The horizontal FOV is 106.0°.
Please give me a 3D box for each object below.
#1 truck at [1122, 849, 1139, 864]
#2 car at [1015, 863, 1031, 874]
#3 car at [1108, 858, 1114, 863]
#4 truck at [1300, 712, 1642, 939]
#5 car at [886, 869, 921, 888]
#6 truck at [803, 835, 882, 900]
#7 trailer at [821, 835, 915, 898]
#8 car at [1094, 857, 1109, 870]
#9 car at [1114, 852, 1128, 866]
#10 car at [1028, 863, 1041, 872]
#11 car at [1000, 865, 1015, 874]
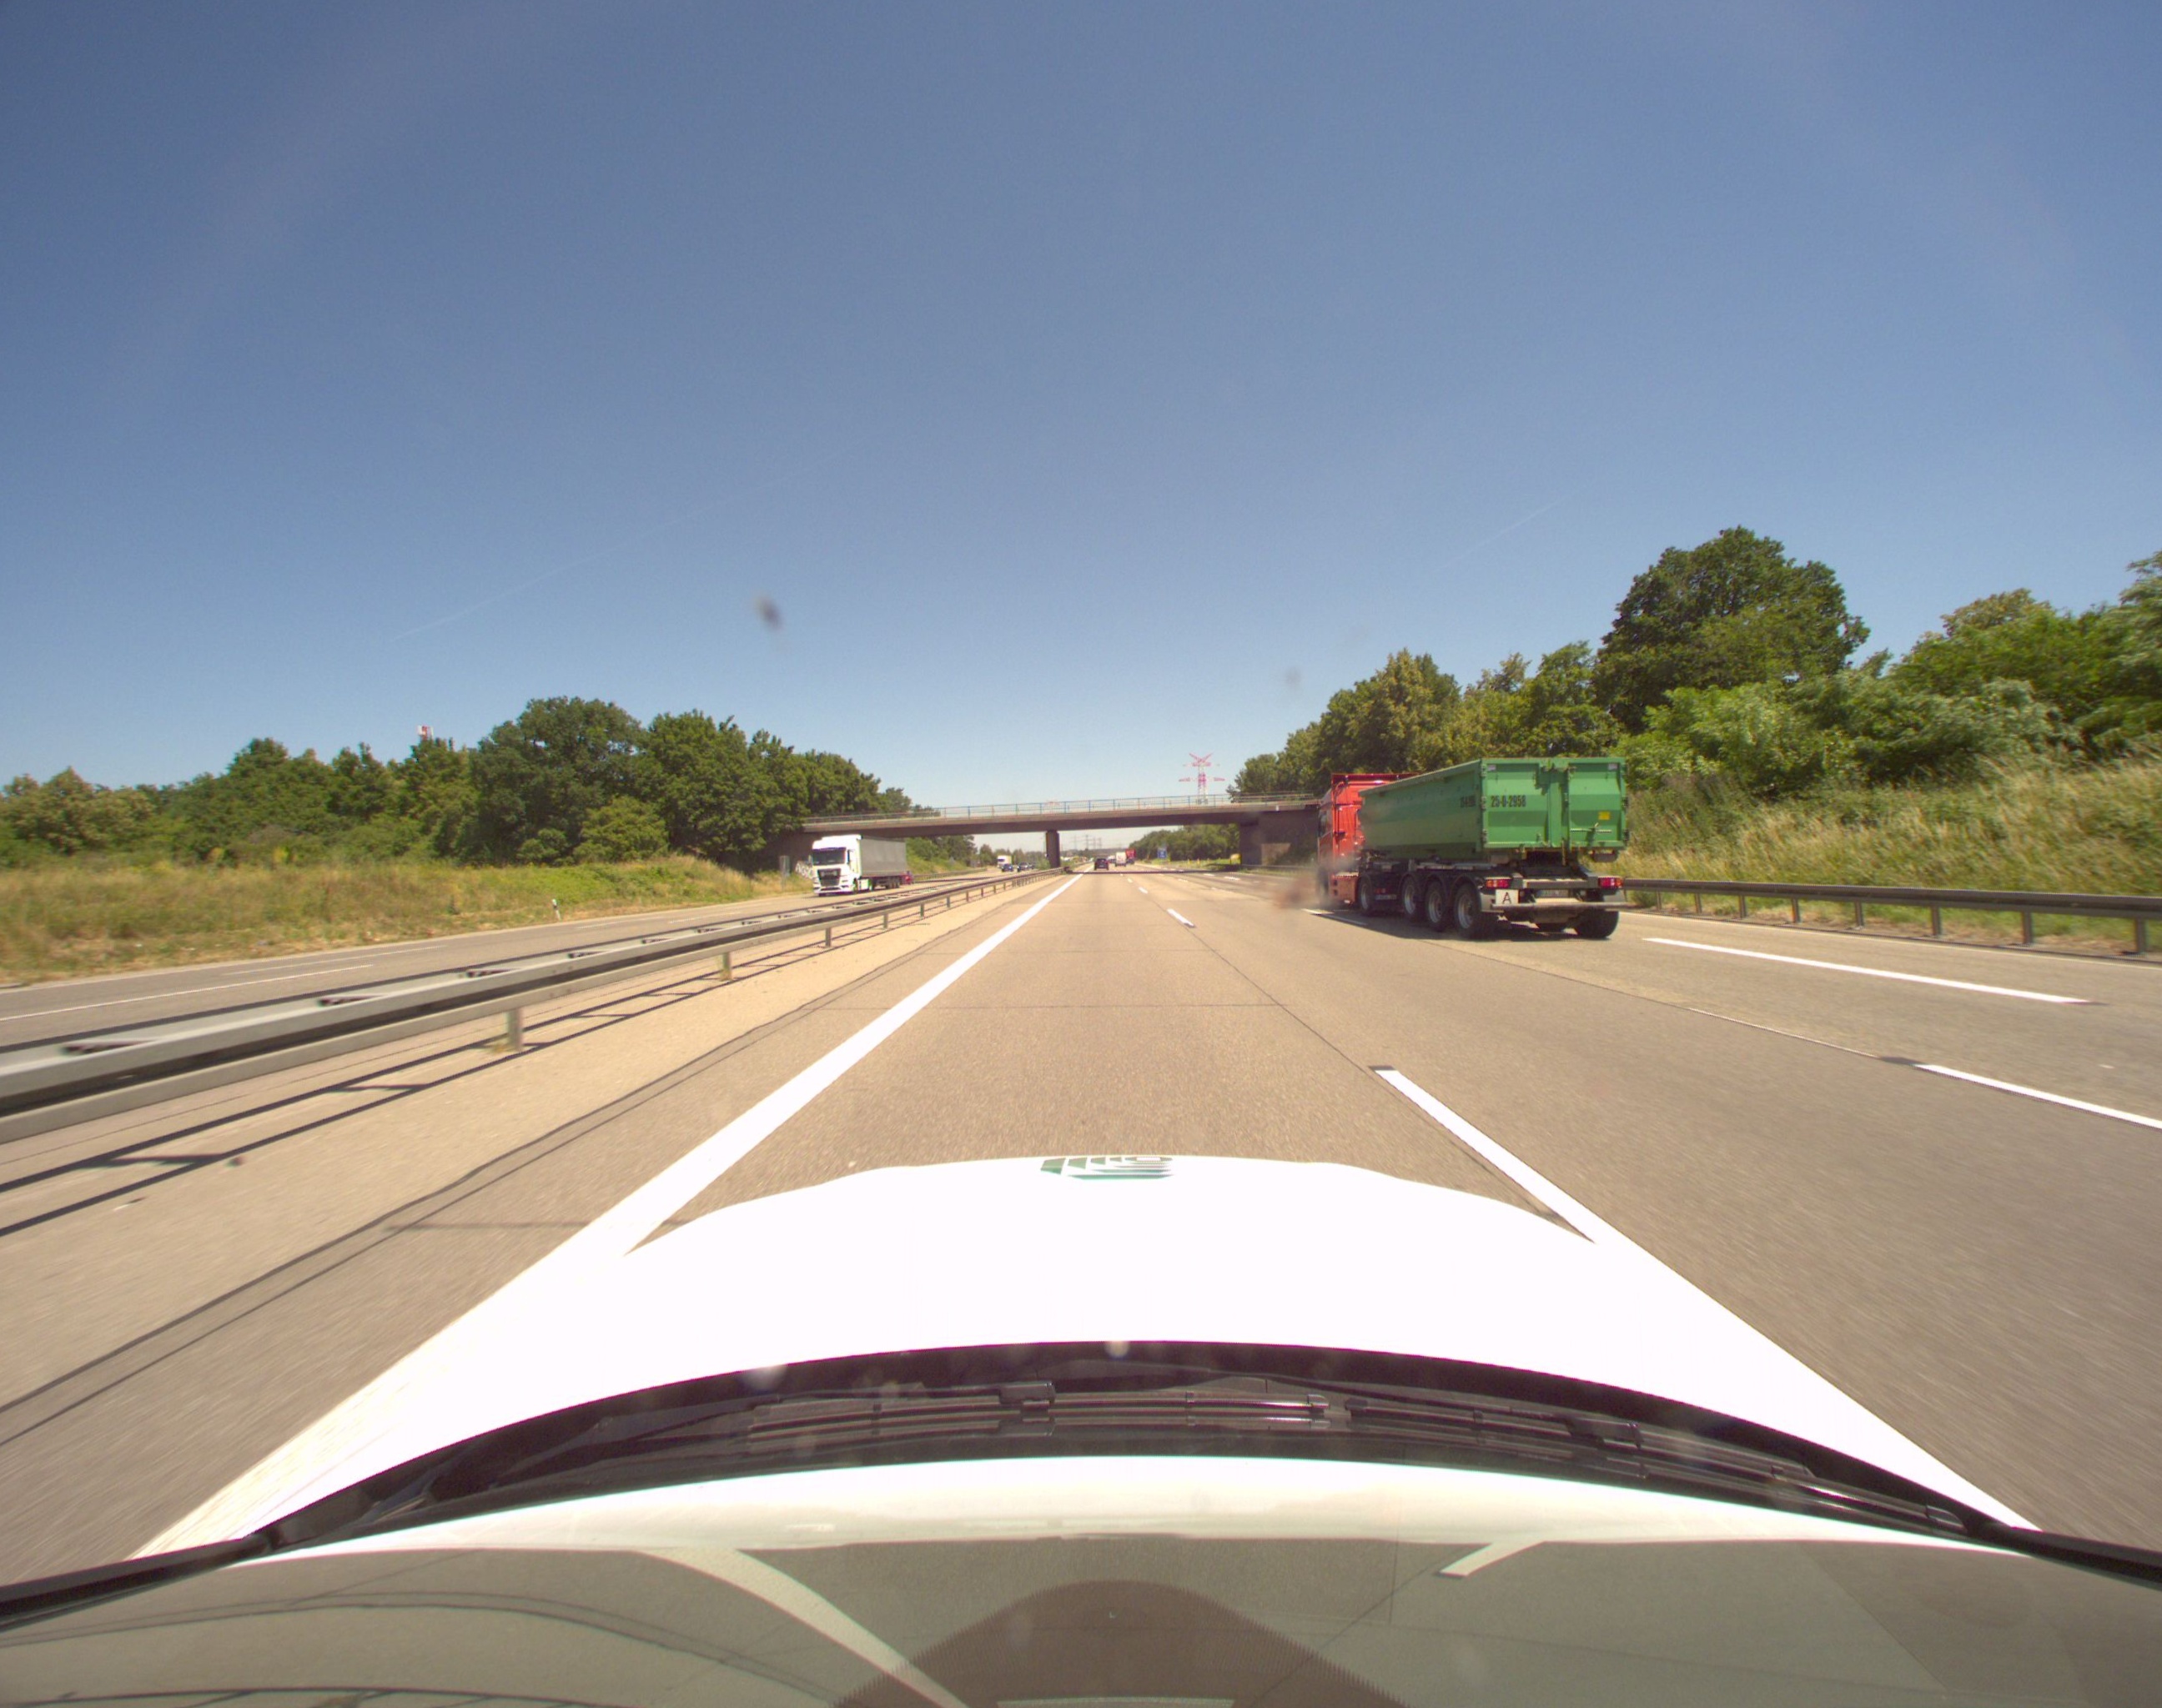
[{"bbox_3d":[13.370,0.626,222.615,4.315,3.941,16.084,-1,0,2],"label":"truck"},{"bbox_3d":[-9.832,2.452,138.843,2.220,1.610,5.061,-4,0,1],"label":"car"},{"bbox_3d":[9.059,1.936,245.800,1.741,1.634,4.005,-1,0,1],"label":"car"},{"bbox_3d":[8.237,-0.461,19.935,2.671,3.798,12.482,-1,0,2],"label":"truck"},{"bbox_3d":[-17.442,2.388,80.137,2.220,1.610,4.788,-4,0,1],"label":"car"},{"bbox_3d":[-16.217,0.852,55.922,2.938,3.960,6.954,-4,0,1],"label":"truck"},{"bbox_3d":[-16.066,0.845,62.962,2.938,4.108,14.106,-4,0,1],"label":"trailer"},{"bbox_3d":[2.790,1.271,110.648,1.986,1.750,4.001,-1,0,1],"label":"car"},{"bbox_3d":[7.709,0.932,157.190,2.611,2.759,6.098,-1,0,1],"label":"car"},{"bbox_3d":[-9.324,2.667,164.393,2.220,1.610,5.061,-4,0,1],"label":"car"},{"bbox_3d":[-13.775,2.892,152.473,2.220,1.610,5.061,-4,0,1],"label":"car"}]
